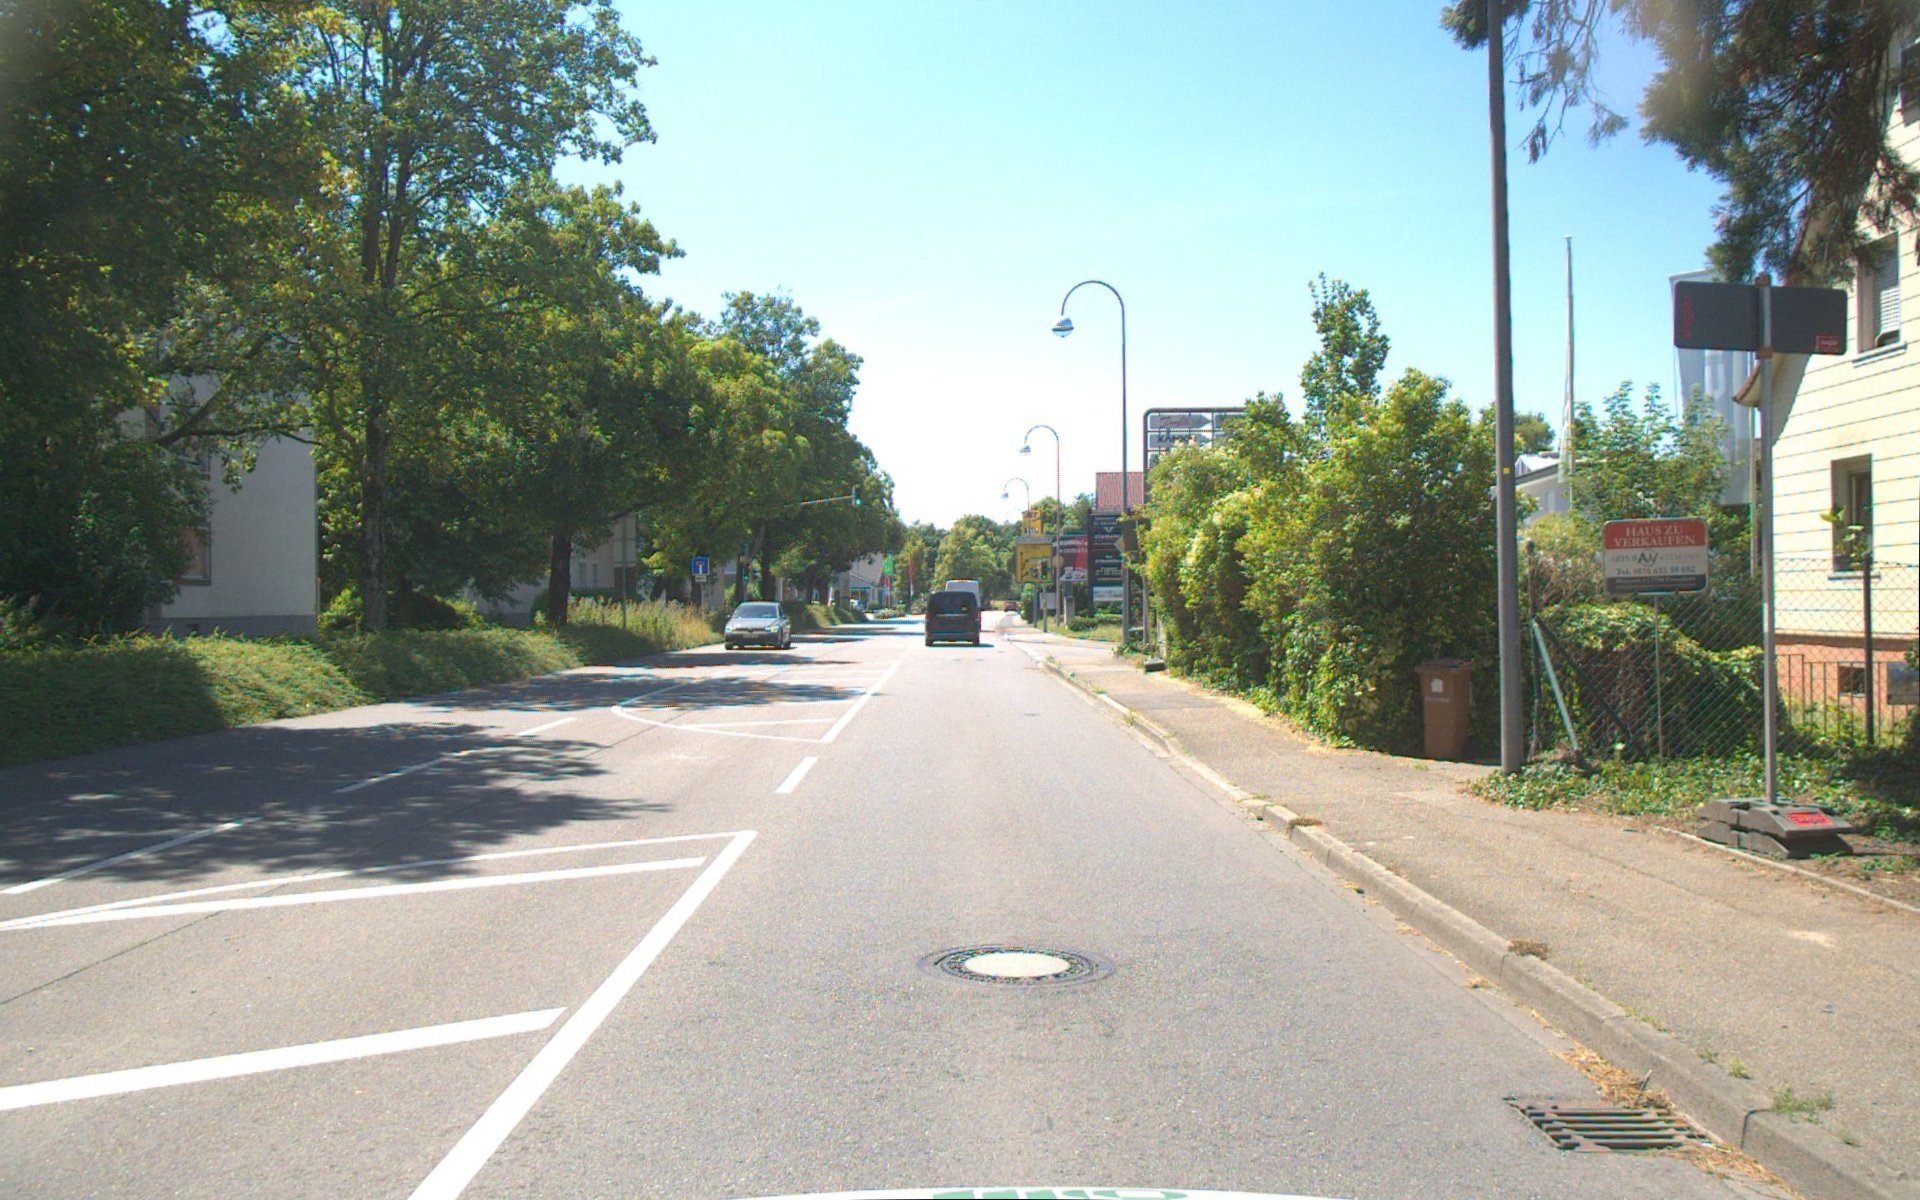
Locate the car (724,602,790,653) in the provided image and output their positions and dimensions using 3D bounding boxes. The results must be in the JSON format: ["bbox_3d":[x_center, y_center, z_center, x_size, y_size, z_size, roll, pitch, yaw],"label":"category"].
[{"bbox_3d":[-6.356,0.847,52.090,1.687,1.452,4.146,1,1,-2],"label":"car"}]

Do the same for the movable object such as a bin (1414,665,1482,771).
[{"bbox_3d":[4.606,1.100,15.590,0.462,0.944,0.523,2,0,33],"label":"movable object such as a bin"}]

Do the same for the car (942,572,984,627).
[{"bbox_3d":[0.176,-0.069,86.841,2.076,2.724,5.663,1,2,1],"label":"car"}]

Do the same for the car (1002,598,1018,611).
[{"bbox_3d":[6.882,0.566,226.605,1.818,1.671,4.003,1,2,6],"label":"car"}]

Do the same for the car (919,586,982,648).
[{"bbox_3d":[-0.375,0.551,56.436,1.954,1.926,3.998,1,2,-3],"label":"car"}]
